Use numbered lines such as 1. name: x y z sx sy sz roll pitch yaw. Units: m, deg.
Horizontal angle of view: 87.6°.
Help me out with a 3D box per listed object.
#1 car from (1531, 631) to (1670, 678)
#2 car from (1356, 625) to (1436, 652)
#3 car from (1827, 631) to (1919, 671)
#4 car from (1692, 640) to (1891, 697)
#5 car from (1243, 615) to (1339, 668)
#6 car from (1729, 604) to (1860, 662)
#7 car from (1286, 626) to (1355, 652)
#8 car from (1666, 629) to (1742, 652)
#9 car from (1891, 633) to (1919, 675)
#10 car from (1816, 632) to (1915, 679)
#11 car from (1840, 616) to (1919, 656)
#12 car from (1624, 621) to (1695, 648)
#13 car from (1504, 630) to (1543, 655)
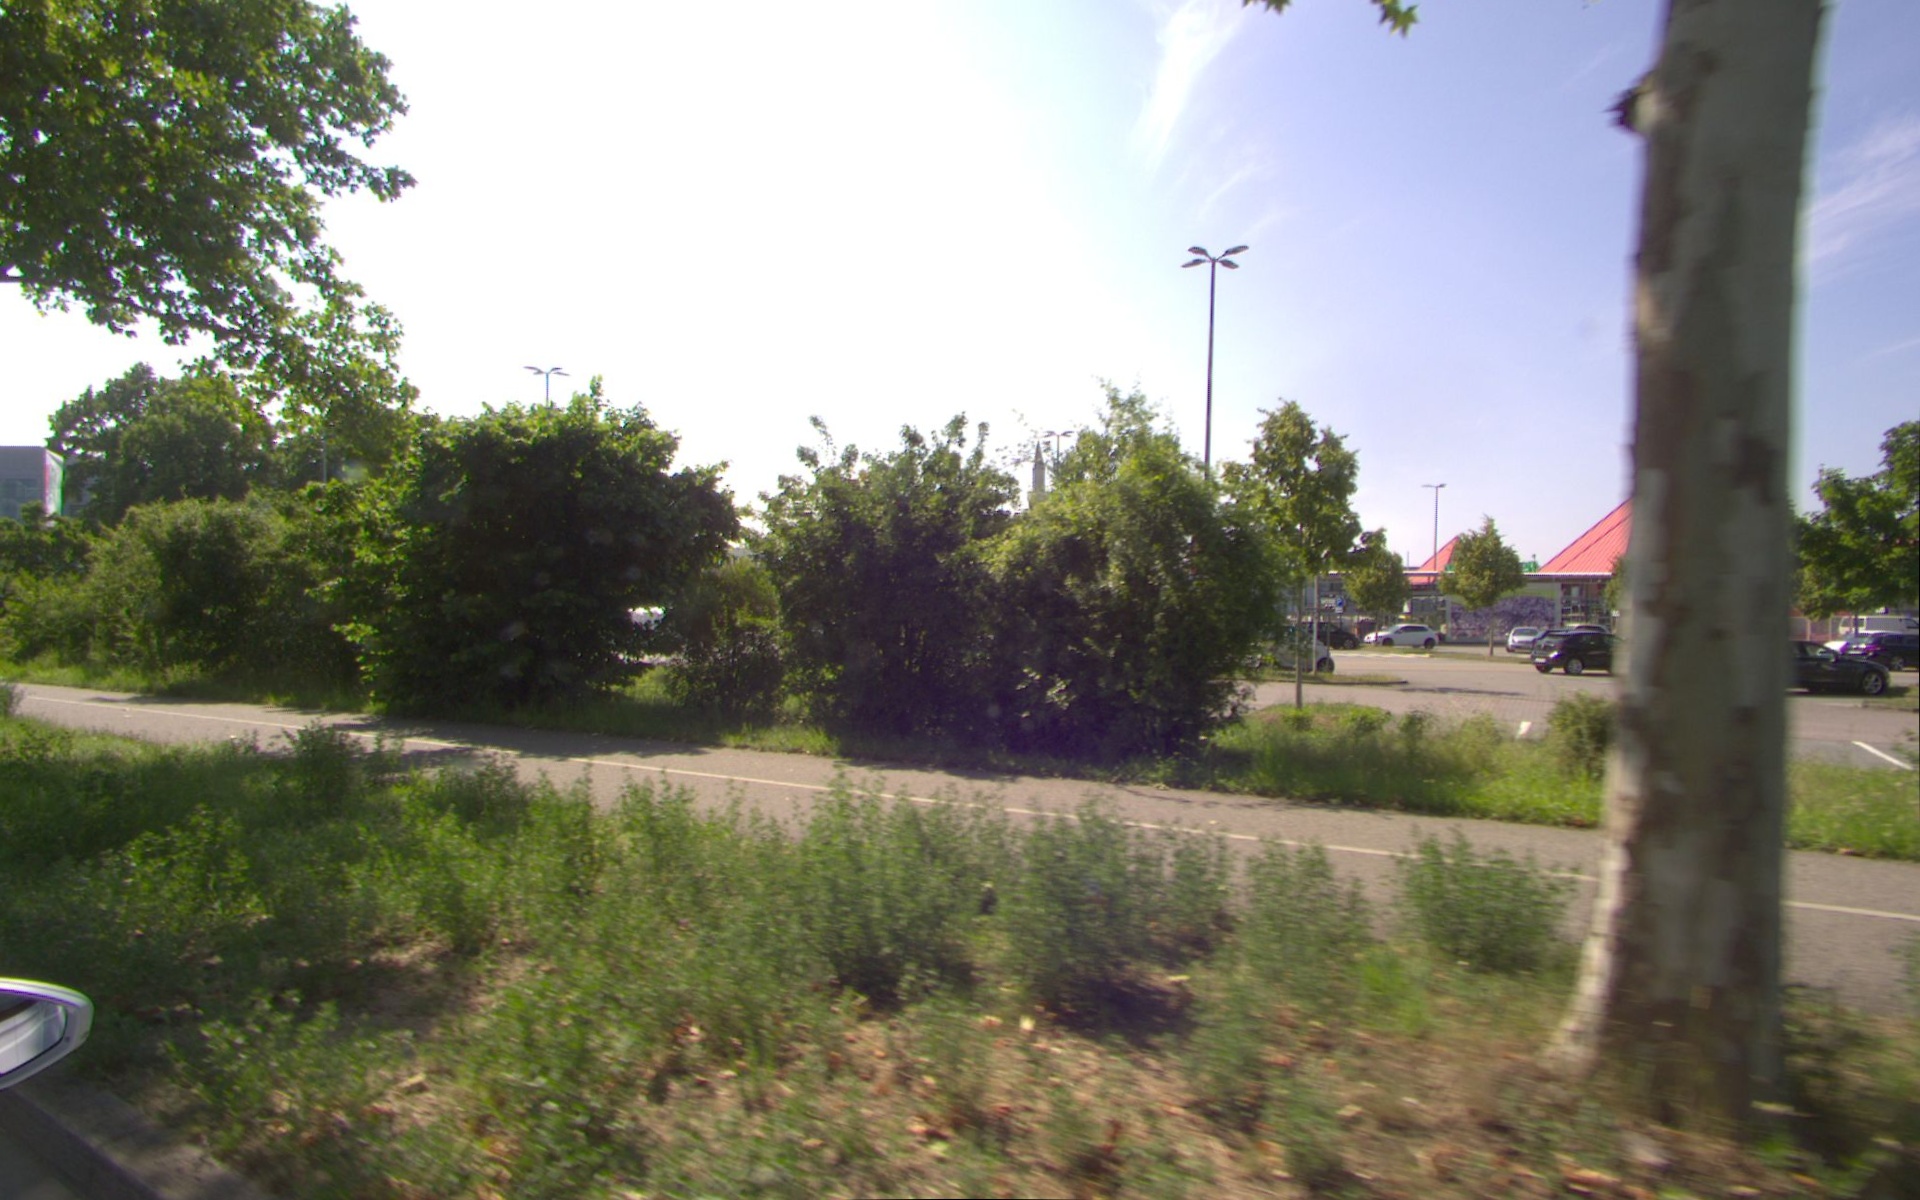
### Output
1. car: 21.385 1.814 33.473 3.798 1.460 1.496 1 -2 -5
2. car: 25.827 2.293 59.368 3.924 1.517 2.000 1 -1 -8
3. car: 35.978 1.984 39.084 3.435 1.527 1.499 1 -1 -12
4. car: 21.470 1.759 25.942 3.922 1.371 1.445 1 -1 0
5. car: 9.889 1.240 29.948 2.575 1.510 0.943 1 -2 -10
6. car: 43.846 1.747 52.682 5.182 2.889 2.307 1 -1 -5
7. car: 20.309 2.182 56.464 3.395 1.401 1.405 1 -1 -7
8. car: 42.807 2.330 57.669 3.256 1.265 1.394 1 -2 5
9. car: 36.736 2.013 37.155 3.435 1.527 1.499 1 -1 -12
10. car: 43.019 2.628 47.616 3.484 2.191 1.558 1 -1 -5
11. car: 54.041 2.118 58.592 3.511 2.256 2.004 1 -1 -5
12. car: 42.039 2.080 60.207 3.256 1.529 1.394 1 -2 5
13. car: 31.014 2.342 55.040 1.615 1.282 3.721 -1 -3 33
